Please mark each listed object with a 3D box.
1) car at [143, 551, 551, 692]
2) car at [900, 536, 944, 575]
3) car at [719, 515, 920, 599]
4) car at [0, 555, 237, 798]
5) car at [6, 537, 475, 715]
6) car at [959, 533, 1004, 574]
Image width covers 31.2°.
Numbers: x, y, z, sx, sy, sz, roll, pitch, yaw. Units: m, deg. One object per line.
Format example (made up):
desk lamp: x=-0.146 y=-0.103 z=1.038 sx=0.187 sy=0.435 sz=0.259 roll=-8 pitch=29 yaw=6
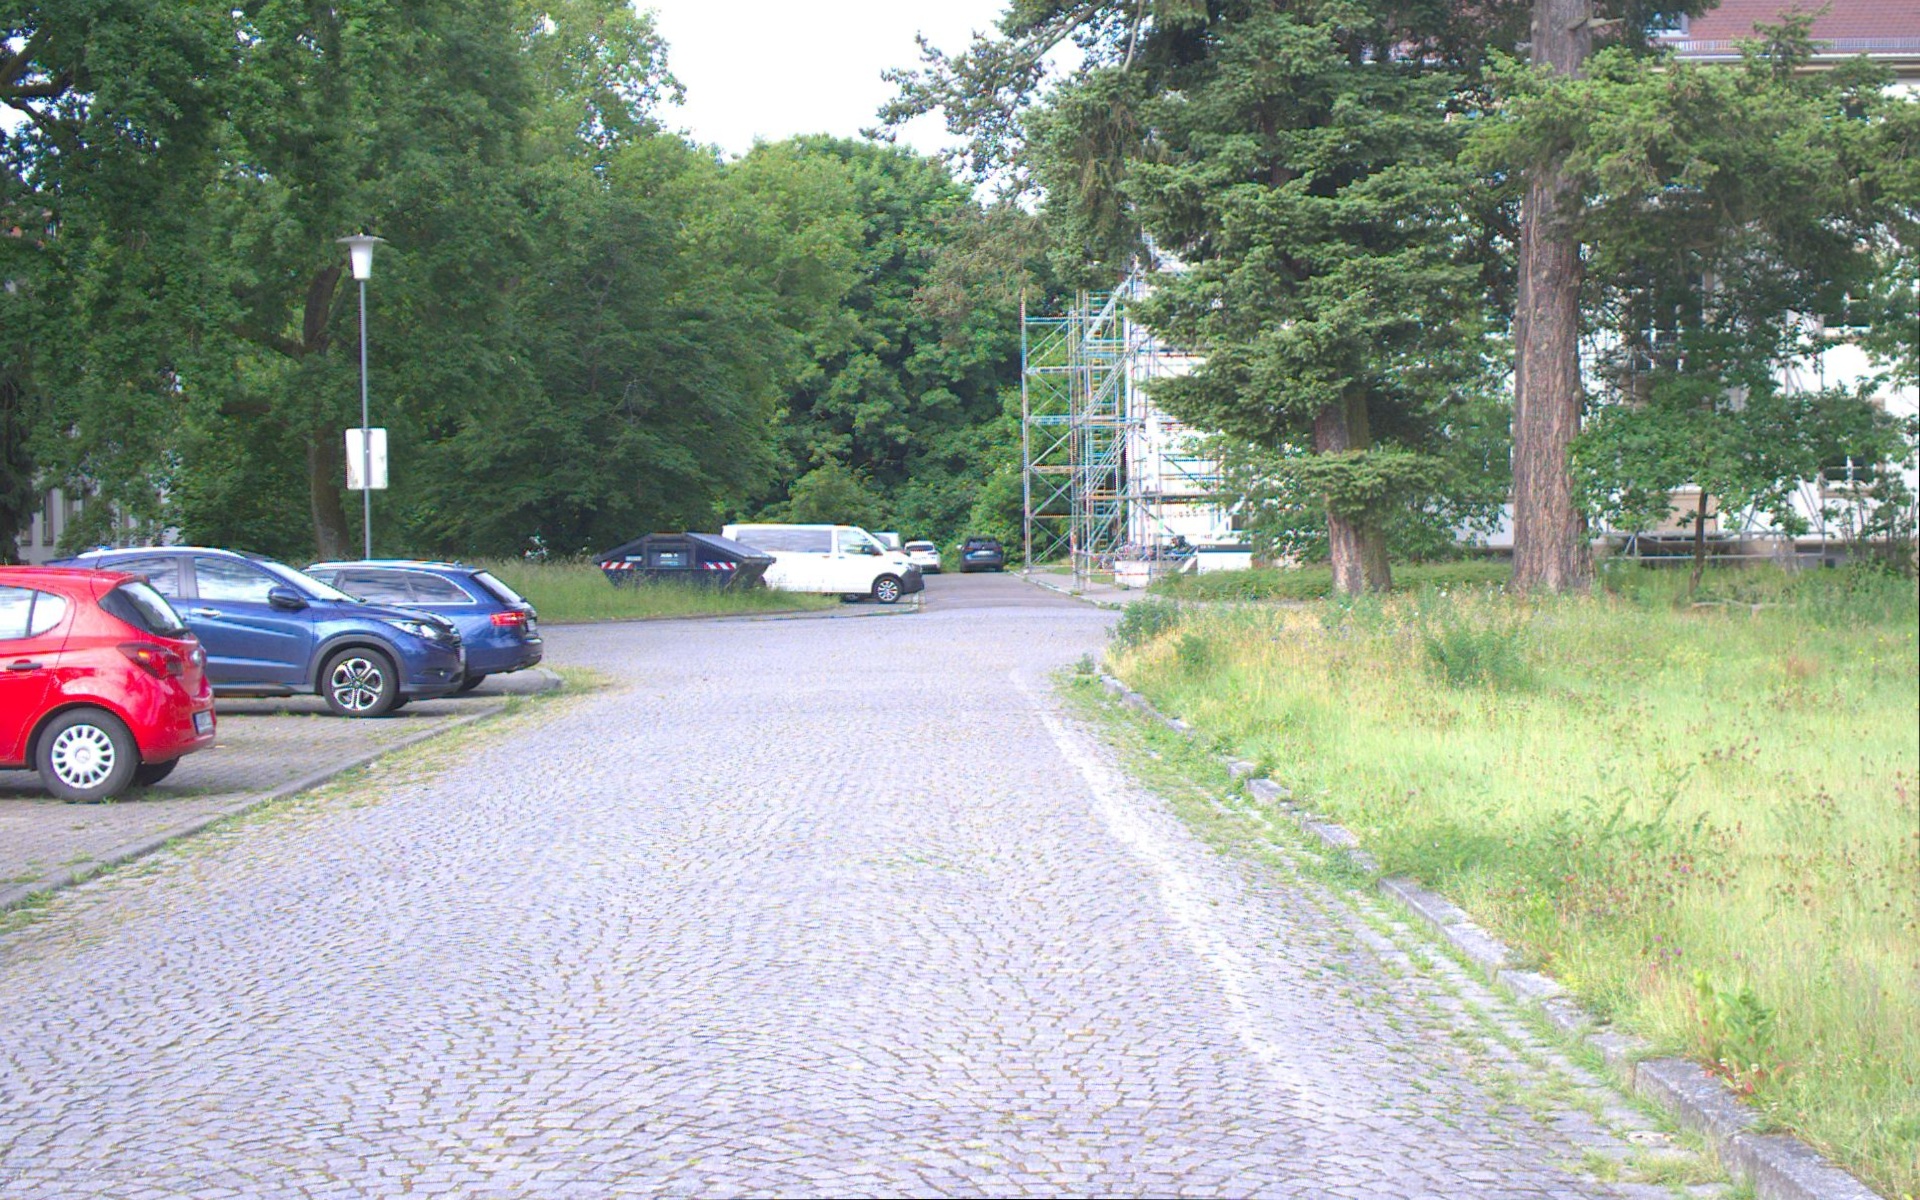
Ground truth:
car: x=-6.587 y=0.218 z=37.179 sx=4.072 sy=1.462 sz=1.626 roll=0 pitch=1 yaw=3
car: x=-1.692 y=-1.950 z=152.212 sx=1.790 sy=1.630 sz=4.061 roll=-1 pitch=0 yaw=-2
car: x=-3.513 y=-1.063 z=86.160 sx=4.978 sy=2.065 sz=2.052 roll=0 pitch=-1 yaw=-2
car: x=-6.766 y=0.472 z=22.232 sx=3.815 sy=1.484 sz=1.788 roll=0 pitch=1 yaw=-1
car: x=-6.731 y=0.222 z=32.481 sx=4.071 sy=1.598 sz=1.788 roll=0 pitch=1 yaw=-2
car: x=0.928 y=-2.040 z=152.545 sx=1.790 sy=1.714 sz=4.061 roll=-1 pitch=0 yaw=-2
